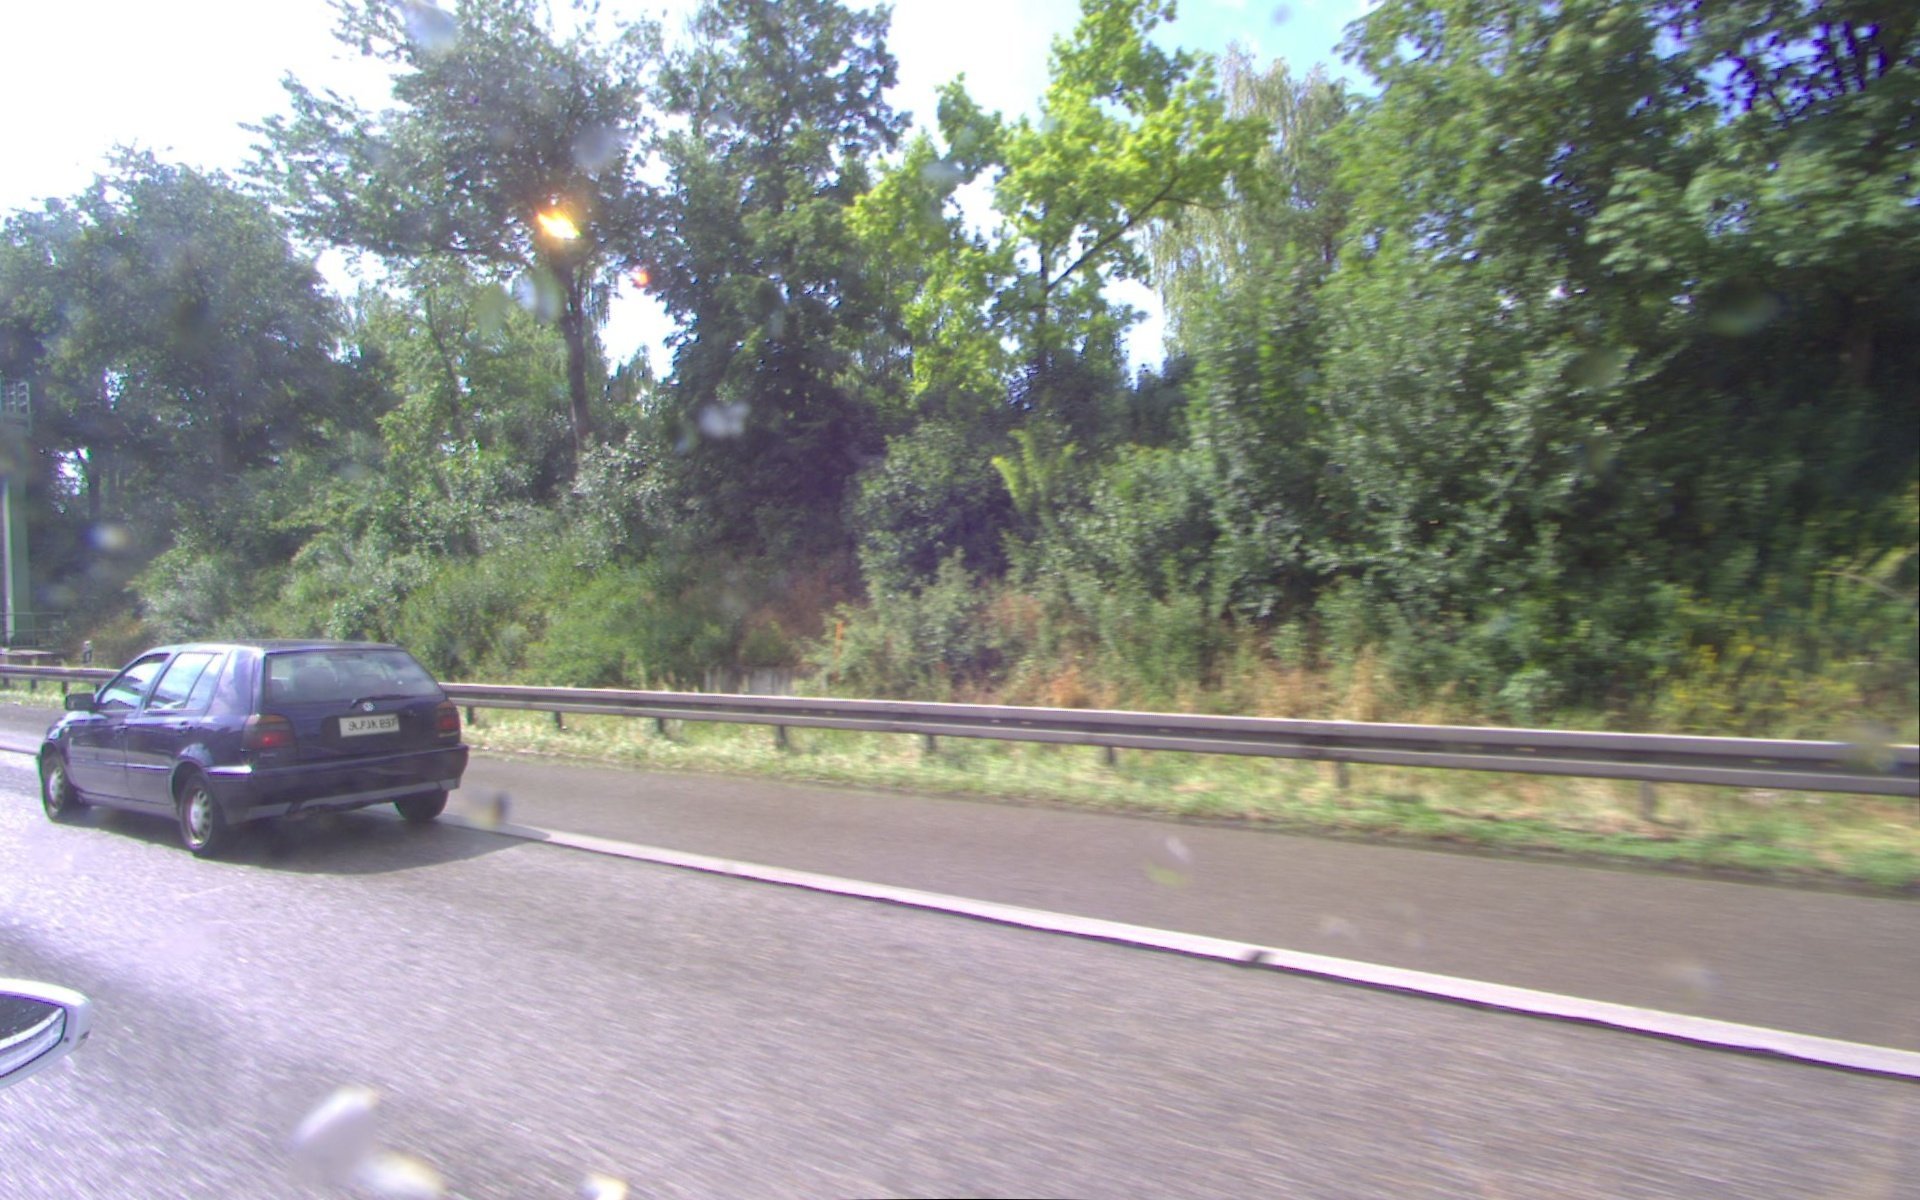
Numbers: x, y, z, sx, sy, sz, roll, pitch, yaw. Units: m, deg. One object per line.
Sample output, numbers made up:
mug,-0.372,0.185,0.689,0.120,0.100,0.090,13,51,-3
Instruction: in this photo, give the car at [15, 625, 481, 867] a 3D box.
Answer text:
car,-5.607,0.943,7.803,3.690,1.475,1.648,-1,-1,31
